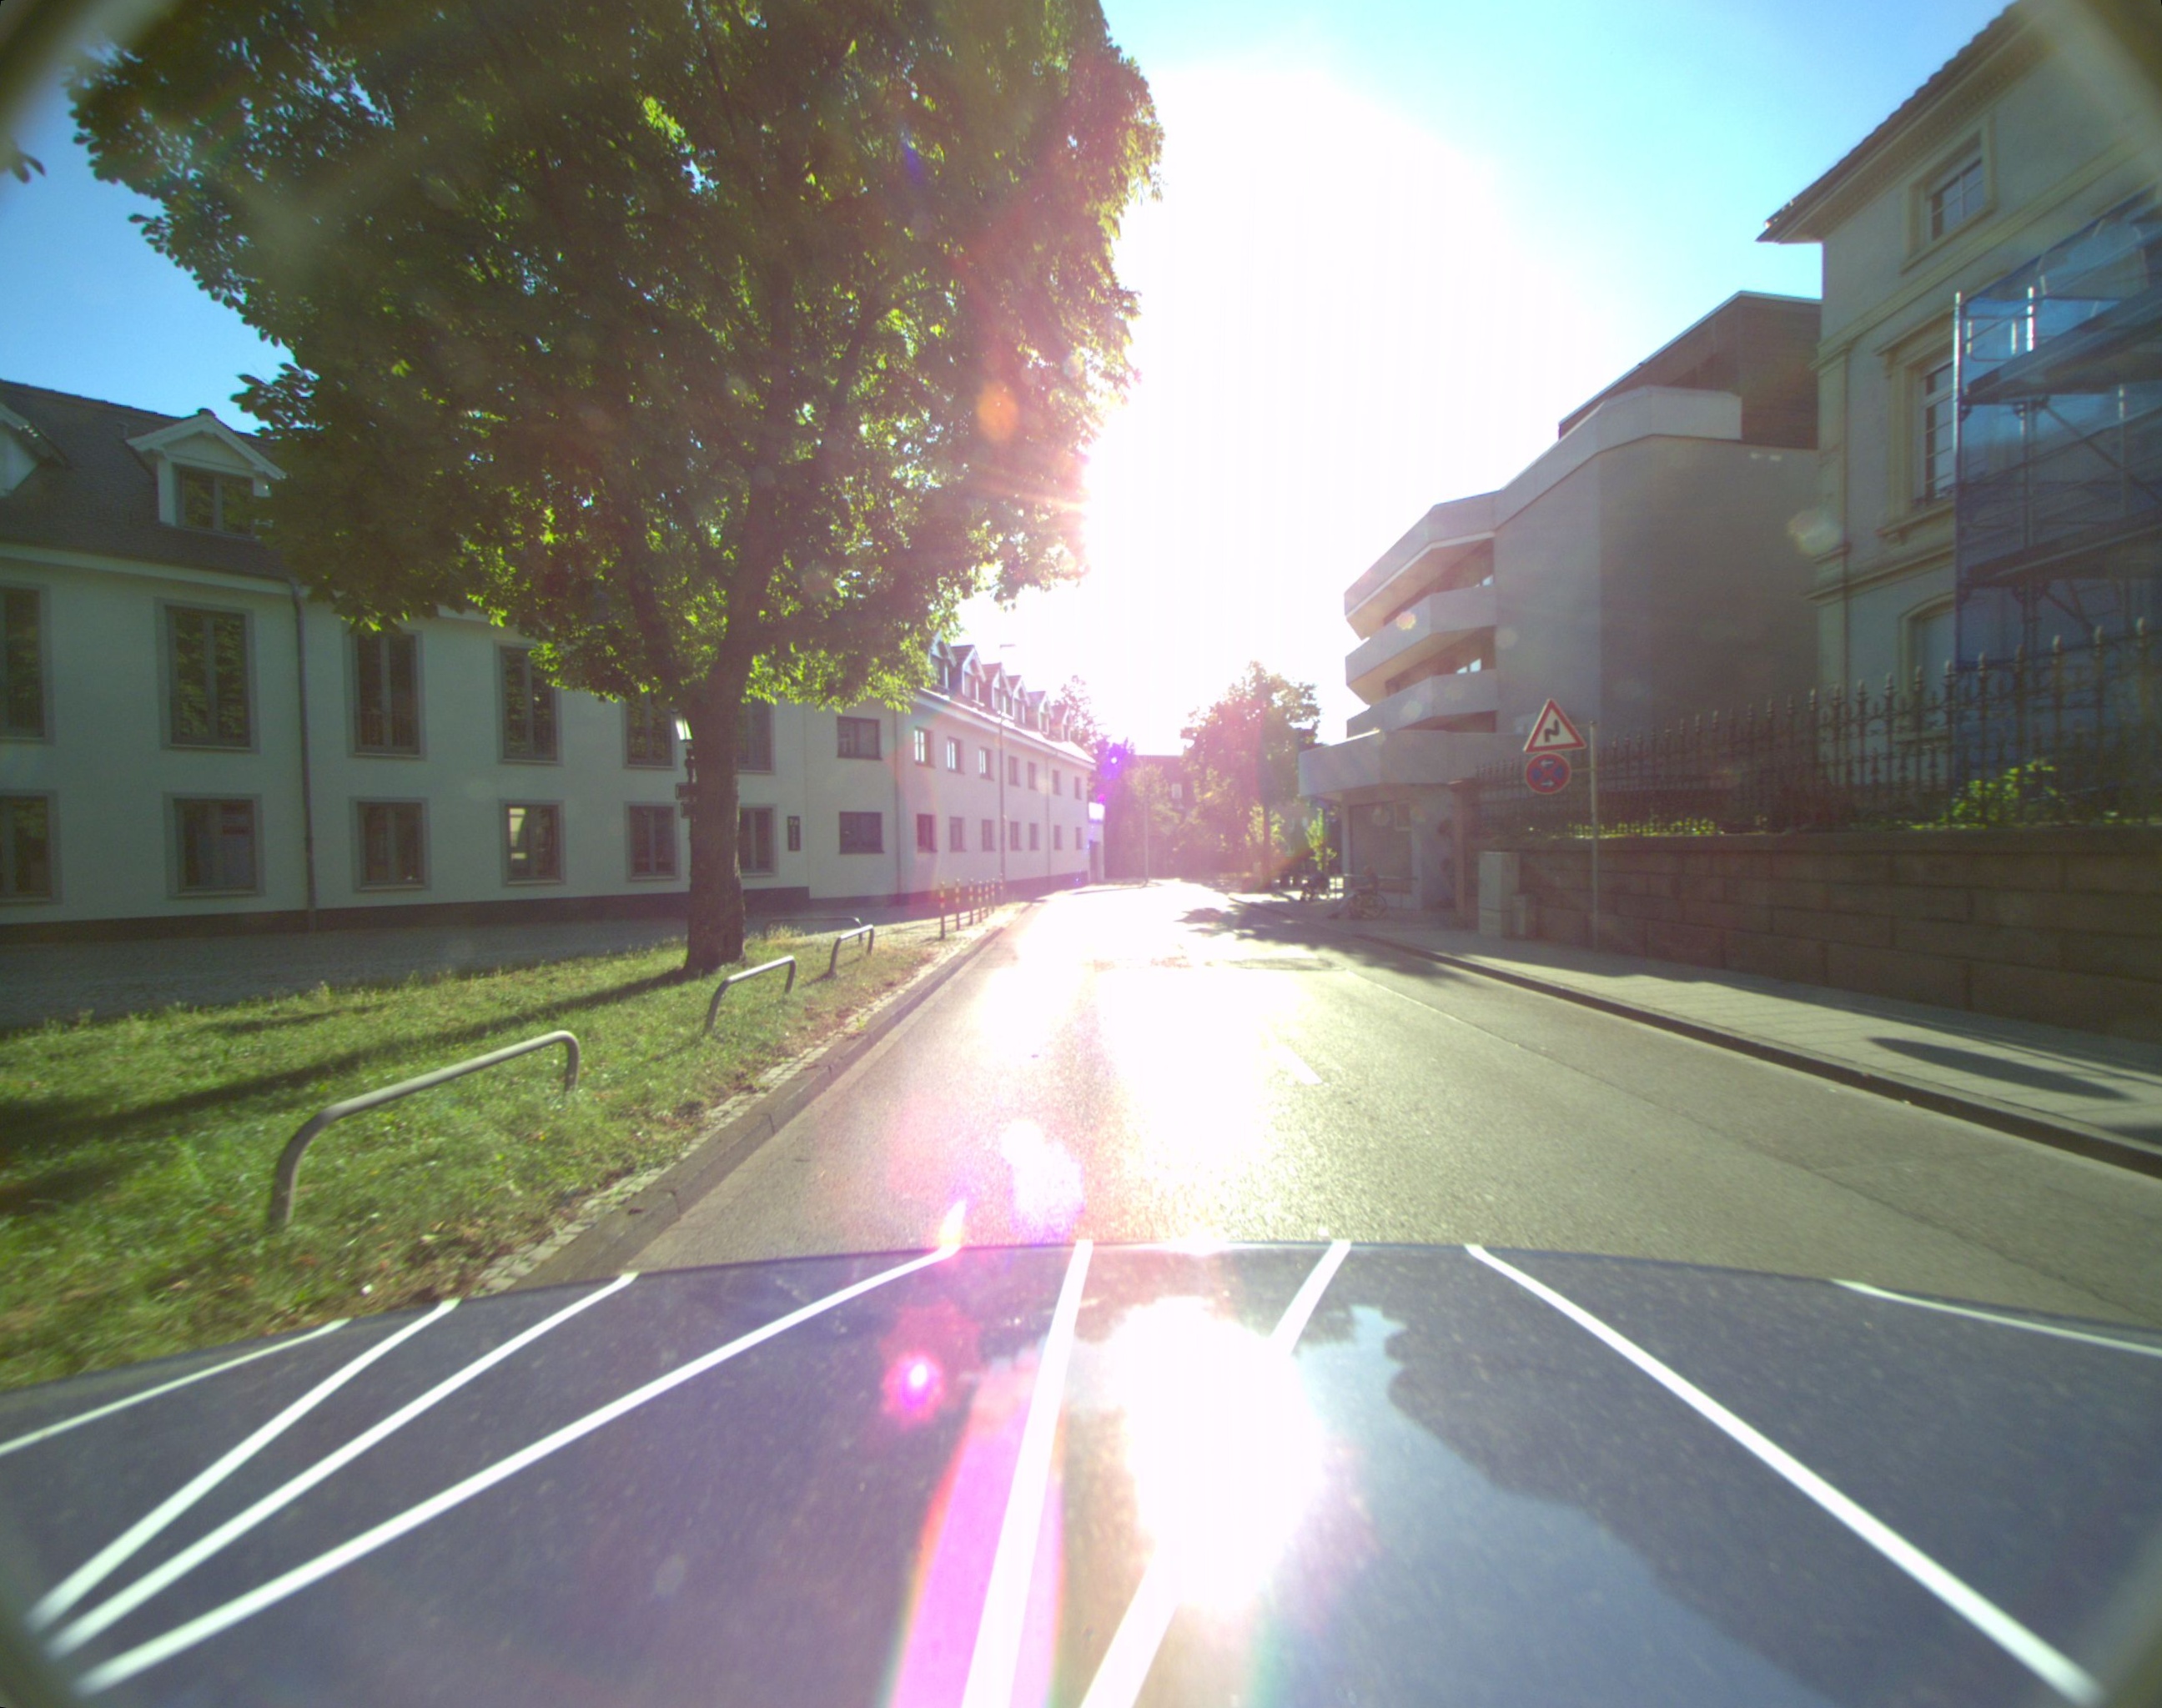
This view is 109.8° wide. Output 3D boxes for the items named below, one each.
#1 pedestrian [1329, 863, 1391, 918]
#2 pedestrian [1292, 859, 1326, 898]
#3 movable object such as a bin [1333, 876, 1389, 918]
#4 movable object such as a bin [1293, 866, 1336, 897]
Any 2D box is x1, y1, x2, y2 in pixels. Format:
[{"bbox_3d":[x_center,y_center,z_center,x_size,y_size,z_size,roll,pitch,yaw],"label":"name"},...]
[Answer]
[{"bbox_3d":[6.659,0.870,18.129,1.155,1.222,0.842,-3,1,35],"label":"pedestrian"},{"bbox_3d":[7.360,0.783,24.577,0.743,1.179,0.840,-3,1,-6],"label":"pedestrian"},{"bbox_3d":[6.676,1.021,18.120,1.035,0.923,0.842,-3,1,35],"label":"movable object such as a bin"},{"bbox_3d":[7.536,0.880,24.587,1.038,0.923,0.840,-3,1,-6],"label":"movable object such as a bin"}]
